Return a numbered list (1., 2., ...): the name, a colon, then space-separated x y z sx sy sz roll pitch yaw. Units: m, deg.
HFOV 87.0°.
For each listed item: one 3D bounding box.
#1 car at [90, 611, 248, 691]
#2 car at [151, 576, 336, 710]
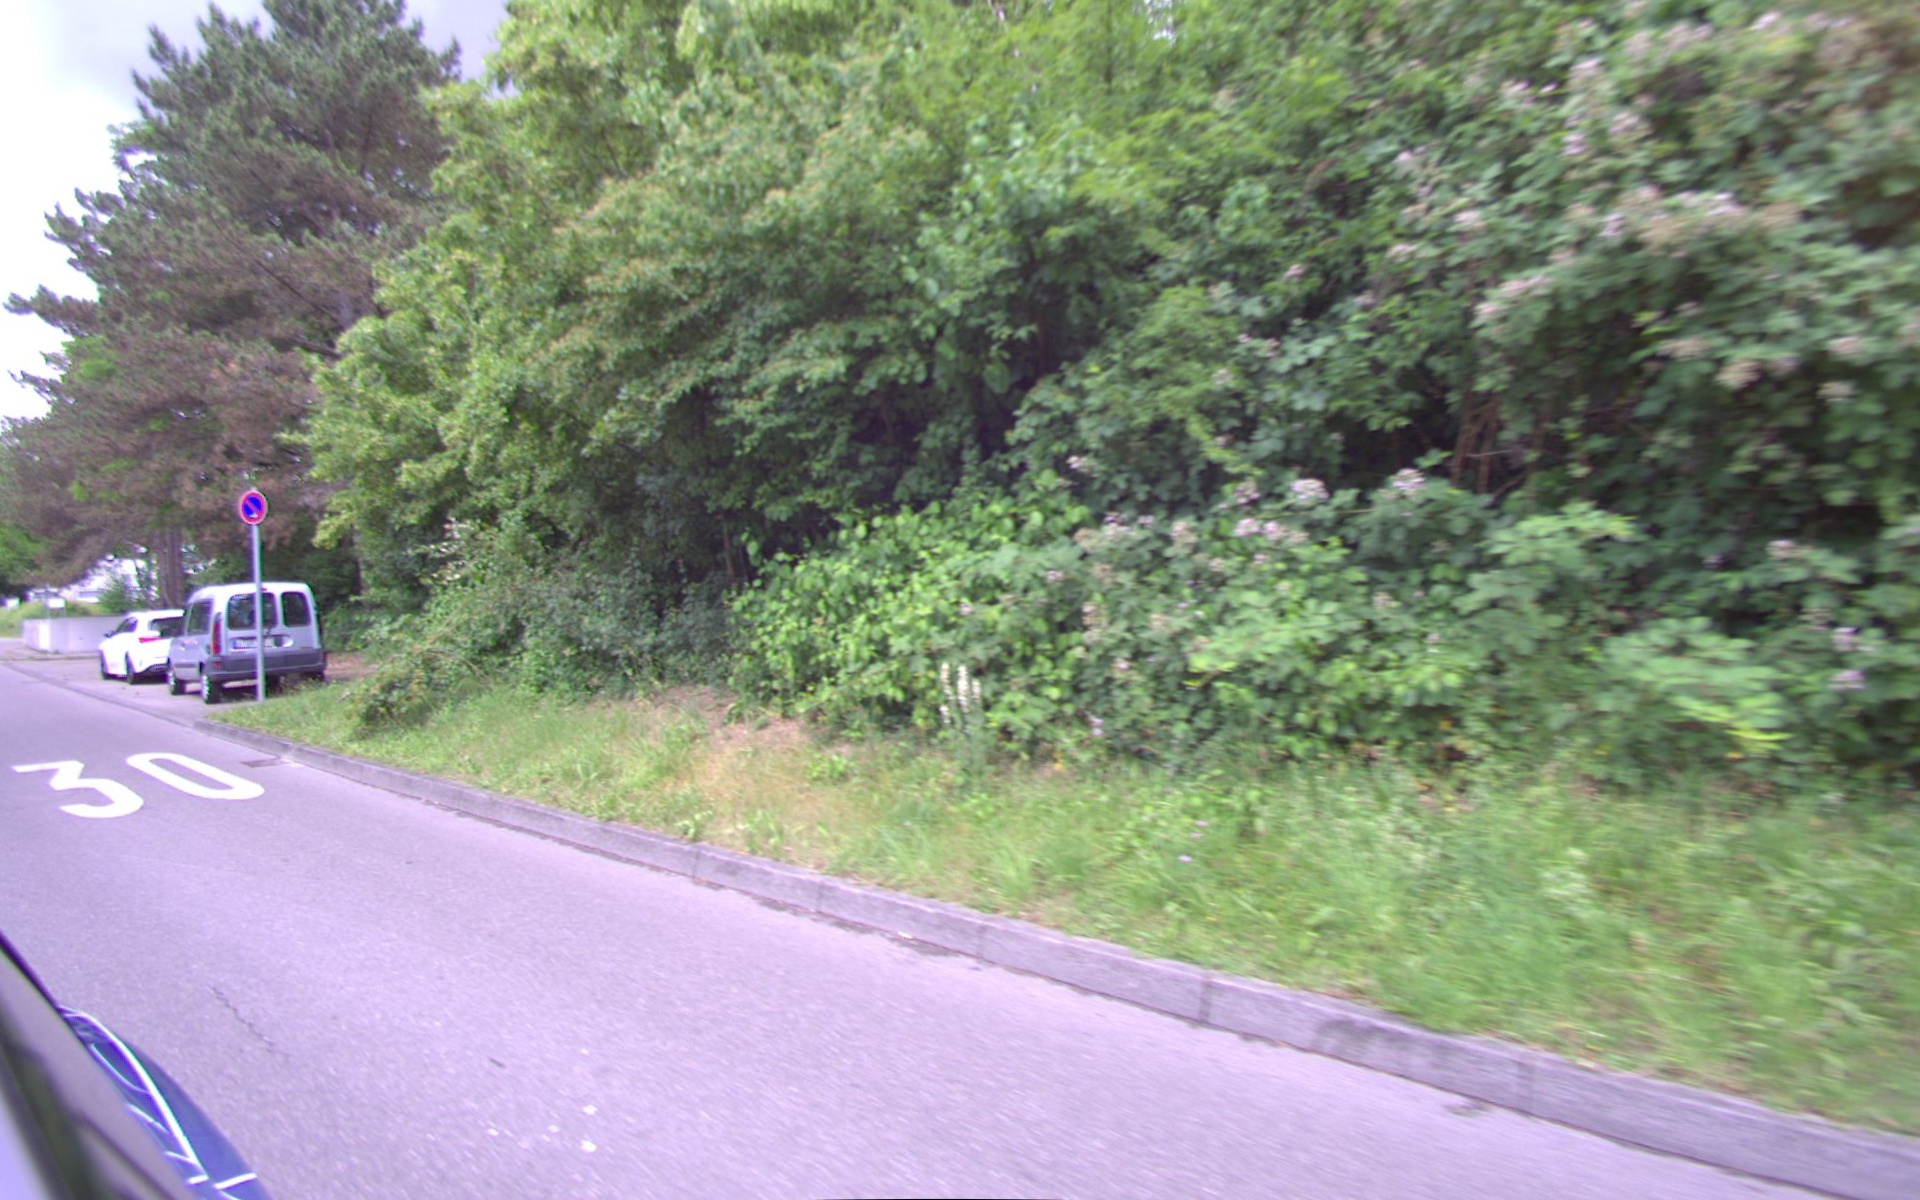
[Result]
1. car: -16.735 1.027 21.338 4.369 1.413 1.787 -2 1 41
2. car: -12.158 0.681 17.068 4.105 1.935 1.702 -2 1 43
